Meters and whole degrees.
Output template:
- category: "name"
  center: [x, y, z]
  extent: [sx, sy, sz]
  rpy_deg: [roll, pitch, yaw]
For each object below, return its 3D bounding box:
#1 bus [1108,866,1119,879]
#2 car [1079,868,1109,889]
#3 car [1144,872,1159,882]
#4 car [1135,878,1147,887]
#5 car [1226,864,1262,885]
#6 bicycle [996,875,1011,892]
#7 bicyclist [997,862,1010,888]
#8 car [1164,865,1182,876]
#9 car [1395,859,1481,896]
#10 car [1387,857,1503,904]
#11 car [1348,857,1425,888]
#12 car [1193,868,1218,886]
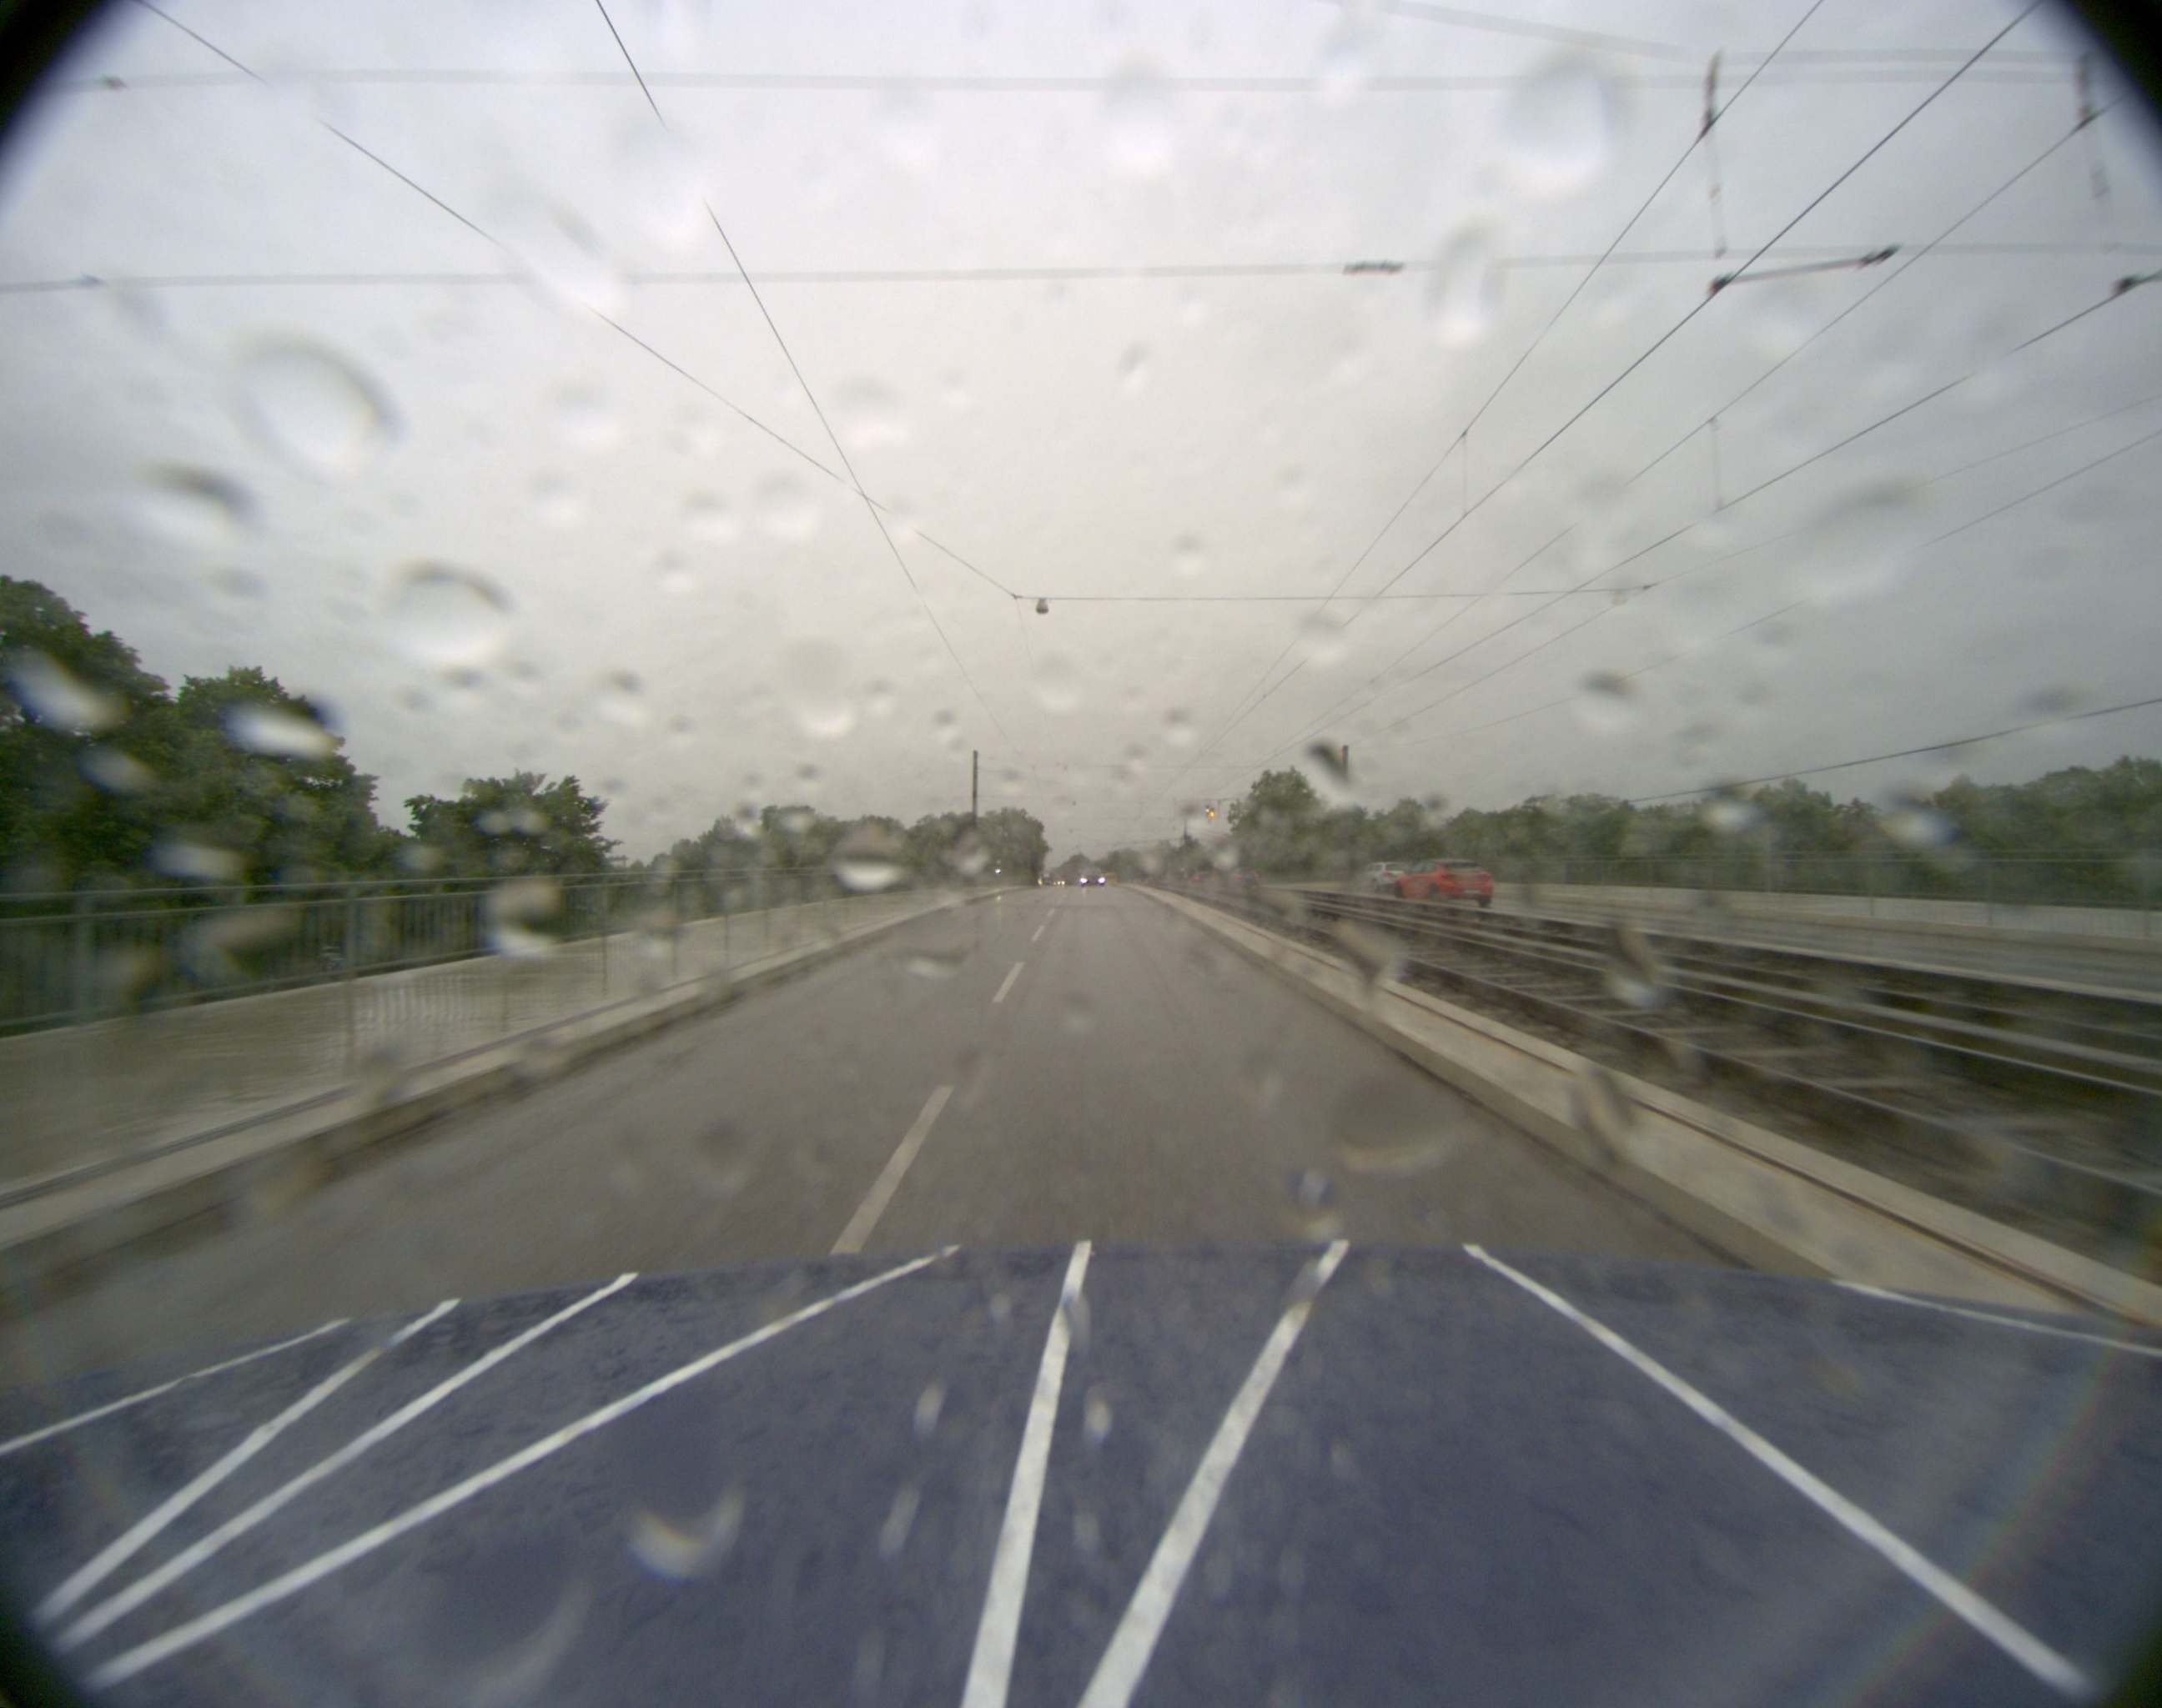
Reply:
- category: "bus"
  center: [9.374, 5.320, 219.255]
  extent: [2.715, 3.319, 10.999]
  rpy_deg: [1, -3, 0]
- category: "car"
  center: [0.998, 1.957, 60.502]
  extent: [1.999, 1.497, 4.196]
  rpy_deg: [-2, -2, -4]
- category: "car"
  center: [12.196, 3.979, 131.428]
  extent: [1.999, 1.500, 5.113]
  rpy_deg: [1, -1, -2]
- category: "car"
  center: [12.489, 5.860, 157.701]
  extent: [1.998, 1.706, 4.942]
  rpy_deg: [1, -1, 0]
- category: "car"
  center: [12.150, 1.493, 56.832]
  extent: [1.804, 1.473, 4.084]
  rpy_deg: [-2, -1, 1]
- category: "bicycle"
  center: [-5.295, 2.027, 51.892]
  extent: [0.725, 1.122, 2.168]
  rpy_deg: [-2, -1, 1]
- category: "bicyclist"
  center: [-5.307, 1.432, 51.948]
  extent: [0.727, 1.753, 0.949]
  rpy_deg: [-2, 0, 0]
- category: "car"
  center: [12.800, 2.331, 106.245]
  extent: [1.999, 1.500, 4.092]
  rpy_deg: [1, -1, 0]
- category: "car"
  center: [15.274, 0.966, 32.734]
  extent: [1.624, 1.447, 4.322]
  rpy_deg: [1, -1, 0]
- category: "car"
  center: [11.547, 0.812, 24.431]
  extent: [1.804, 1.308, 4.084]
  rpy_deg: [-2, -1, 1]
- category: "car"
  center: [15.452, 0.916, 38.742]
  extent: [1.999, 1.447, 4.620]
  rpy_deg: [1, -1, 0]
- category: "car"
  center: [12.678, 2.302, 77.585]
  extent: [1.822, 1.644, 4.001]
  rpy_deg: [-2, -1, 1]
